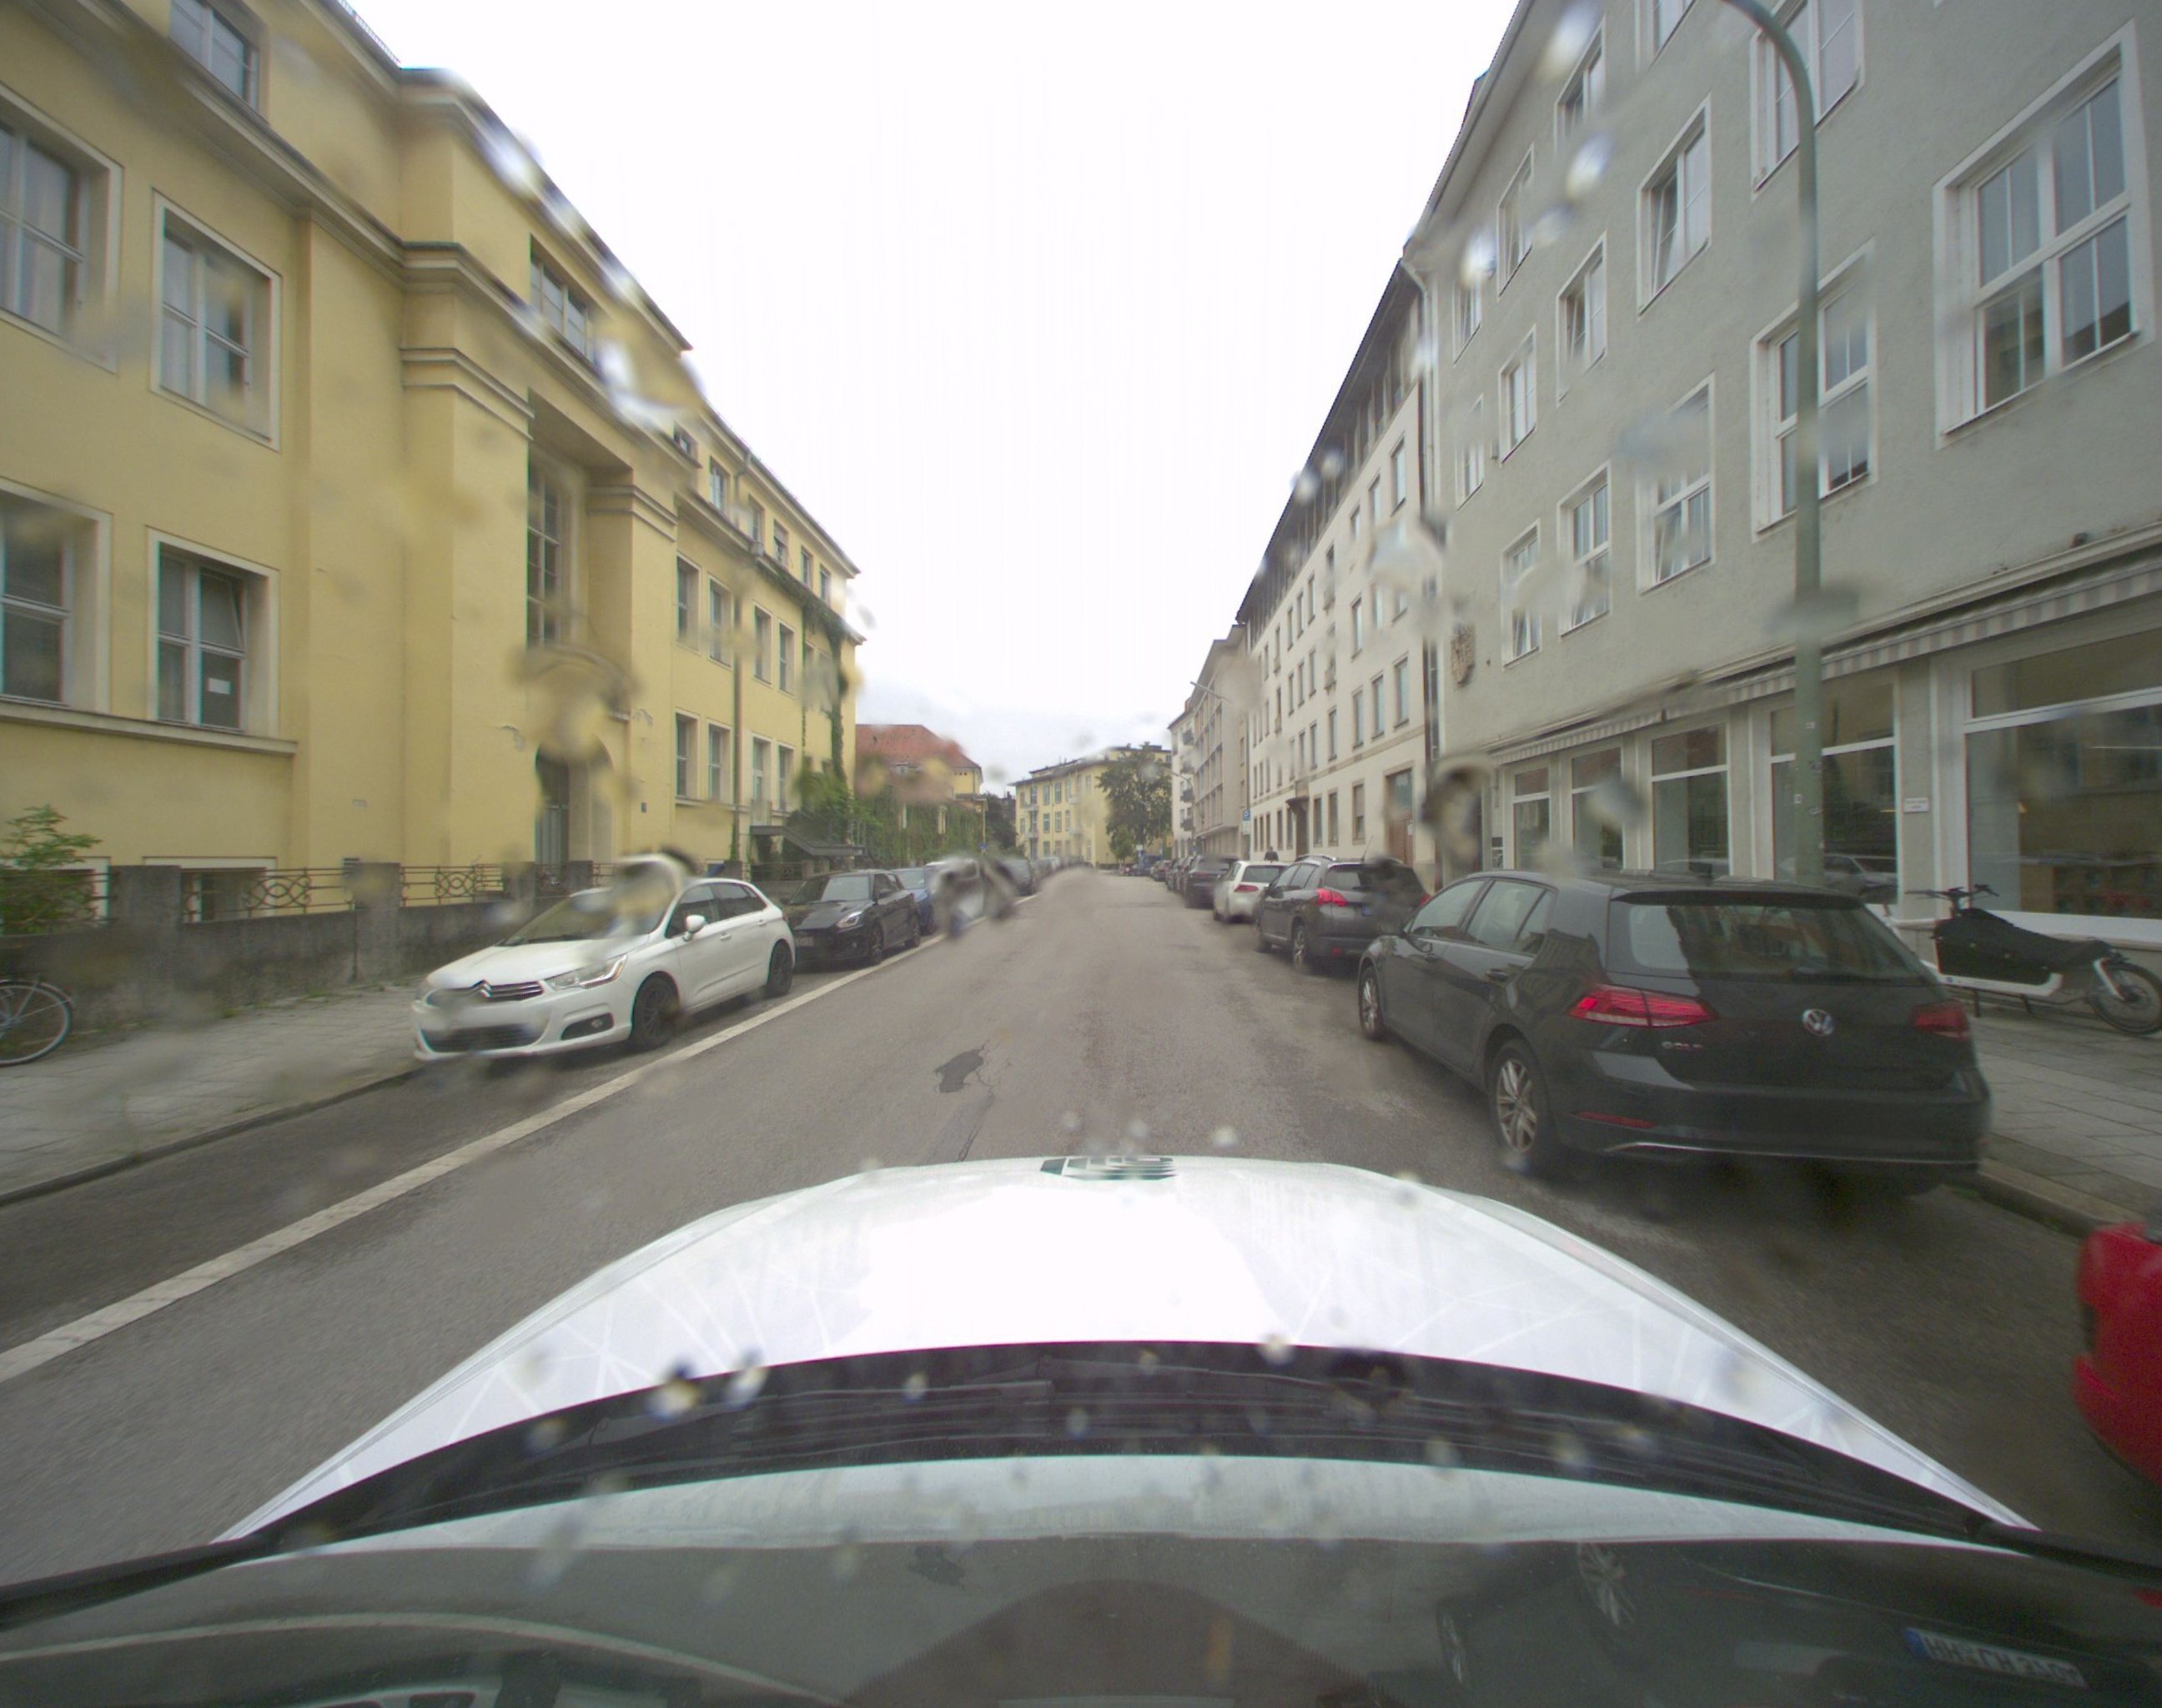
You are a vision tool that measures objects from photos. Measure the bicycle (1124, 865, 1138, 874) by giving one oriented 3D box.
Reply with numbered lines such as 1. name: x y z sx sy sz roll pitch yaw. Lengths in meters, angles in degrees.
1. bicycle: 7.347 2.279 119.988 1.907 1.201 0.598 0 -1 16

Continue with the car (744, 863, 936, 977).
1. car: -3.808 0.968 13.672 1.692 1.497 4.152 -4 -1 3

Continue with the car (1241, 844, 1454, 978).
1. car: 3.635 0.712 11.969 1.701 1.592 4.360 1 -1 0

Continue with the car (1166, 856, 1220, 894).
1. car: 4.815 0.873 35.590 1.795 1.484 5.322 2 -1 2

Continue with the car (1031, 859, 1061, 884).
1. car: -2.205 1.103 52.552 1.585 1.441 4.019 -3 -1 1

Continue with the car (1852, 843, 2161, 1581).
1. car: 3.054 0.746 0.268 1.682 1.500 4.146 1 0 0

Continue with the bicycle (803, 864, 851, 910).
1. bicycle: -7.631 0.974 24.601 0.678 1.328 2.115 0 -1 3

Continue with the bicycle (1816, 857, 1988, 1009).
1. bicycle: 7.364 0.656 7.370 0.247 1.255 1.233 -1 0 -2

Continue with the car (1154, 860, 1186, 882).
1. car: 6.136 1.167 56.667 1.739 1.388 4.954 1 -1 1

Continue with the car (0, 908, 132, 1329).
1. car: -4.709 0.960 0.876 1.787 1.429 4.665 -4 -1 1

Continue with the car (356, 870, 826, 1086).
1. car: -4.427 0.982 8.455 1.777 1.431 4.655 -5 -1 3

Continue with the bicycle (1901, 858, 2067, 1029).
1. bicycle: 7.127 0.661 6.468 0.247 1.255 0.916 -1 0 -2

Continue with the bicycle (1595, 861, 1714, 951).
1. bicycle: 8.098 0.692 11.600 0.382 1.158 1.951 -1 0 2

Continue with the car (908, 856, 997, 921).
1. car: -3.623 0.926 23.755 1.740 1.634 4.856 -2 -1 0

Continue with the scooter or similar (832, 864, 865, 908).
1. scooter or similar: -7.577 1.022 26.618 0.558 1.369 1.502 -1 -1 3

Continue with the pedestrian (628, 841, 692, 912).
1. pedestrian: -10.510 0.545 20.365 0.894 1.719 1.064 -2 0 18

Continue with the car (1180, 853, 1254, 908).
1. car: 4.124 0.773 25.334 1.831 1.522 4.714 1 -1 4

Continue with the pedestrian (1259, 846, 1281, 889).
1. pedestrian: 7.837 0.553 33.774 0.719 1.763 0.905 0 -2 3

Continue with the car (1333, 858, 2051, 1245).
1. car: 3.005 0.761 5.317 1.680 1.402 4.369 0 1 4

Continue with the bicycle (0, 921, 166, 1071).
1. bicycle: -8.437 1.116 6.356 0.533 1.063 1.646 0 -1 13

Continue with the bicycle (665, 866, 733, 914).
1. bicycle: -10.475 0.970 22.335 1.619 1.268 0.527 -1 -1 3

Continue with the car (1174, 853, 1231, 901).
1. car: 4.443 0.807 30.343 1.638 1.589 4.638 2 -1 3

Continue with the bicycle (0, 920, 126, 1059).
1. bicycle: -8.960 1.118 6.506 0.533 1.063 1.646 0 -1 13

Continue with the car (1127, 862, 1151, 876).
1. car: 6.403 1.641 89.839 1.676 1.389 4.291 4 -2 -9

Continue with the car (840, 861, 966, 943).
1. car: -3.935 1.007 18.793 1.697 1.502 4.496 -6 -1 1

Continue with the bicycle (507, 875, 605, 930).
1. bicycle: -10.678 0.973 16.574 1.654 1.050 0.425 -1 -1 -4

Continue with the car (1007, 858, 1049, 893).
1. car: -2.674 1.064 42.227 1.718 1.629 4.467 -3 -1 1

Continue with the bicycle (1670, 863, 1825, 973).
1. bicycle: 7.779 0.694 9.615 0.394 1.176 1.816 0 -1 2

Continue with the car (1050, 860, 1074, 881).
1. car: -1.554 1.366 68.306 1.691 1.643 4.492 -3 -1 2

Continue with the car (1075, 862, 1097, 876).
1. car: 0.688 2.186 120.492 1.768 1.874 4.350 4 -2 -19

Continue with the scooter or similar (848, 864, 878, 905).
1. scooter or similar: -7.530 1.042 28.170 0.558 1.369 1.502 -1 -1 3

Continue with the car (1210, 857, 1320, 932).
1. car: 3.939 0.809 18.161 1.665 1.429 4.534 1 -1 3

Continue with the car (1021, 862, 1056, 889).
1. car: -2.408 1.231 47.296 1.597 1.430 4.253 -4 -1 2

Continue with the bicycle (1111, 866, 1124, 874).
1. bicycle: 5.453 2.377 121.262 1.903 1.201 0.599 -1 -1 39

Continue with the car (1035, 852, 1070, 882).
1. car: -1.989 0.920 58.011 1.879 1.889 4.778 -3 -1 4

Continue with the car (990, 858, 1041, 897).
1. car: -2.938 1.034 37.374 1.783 1.586 4.819 -3 -1 1

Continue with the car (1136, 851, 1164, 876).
1. car: 7.058 1.012 83.671 2.074 2.234 5.237 4 -3 -3
